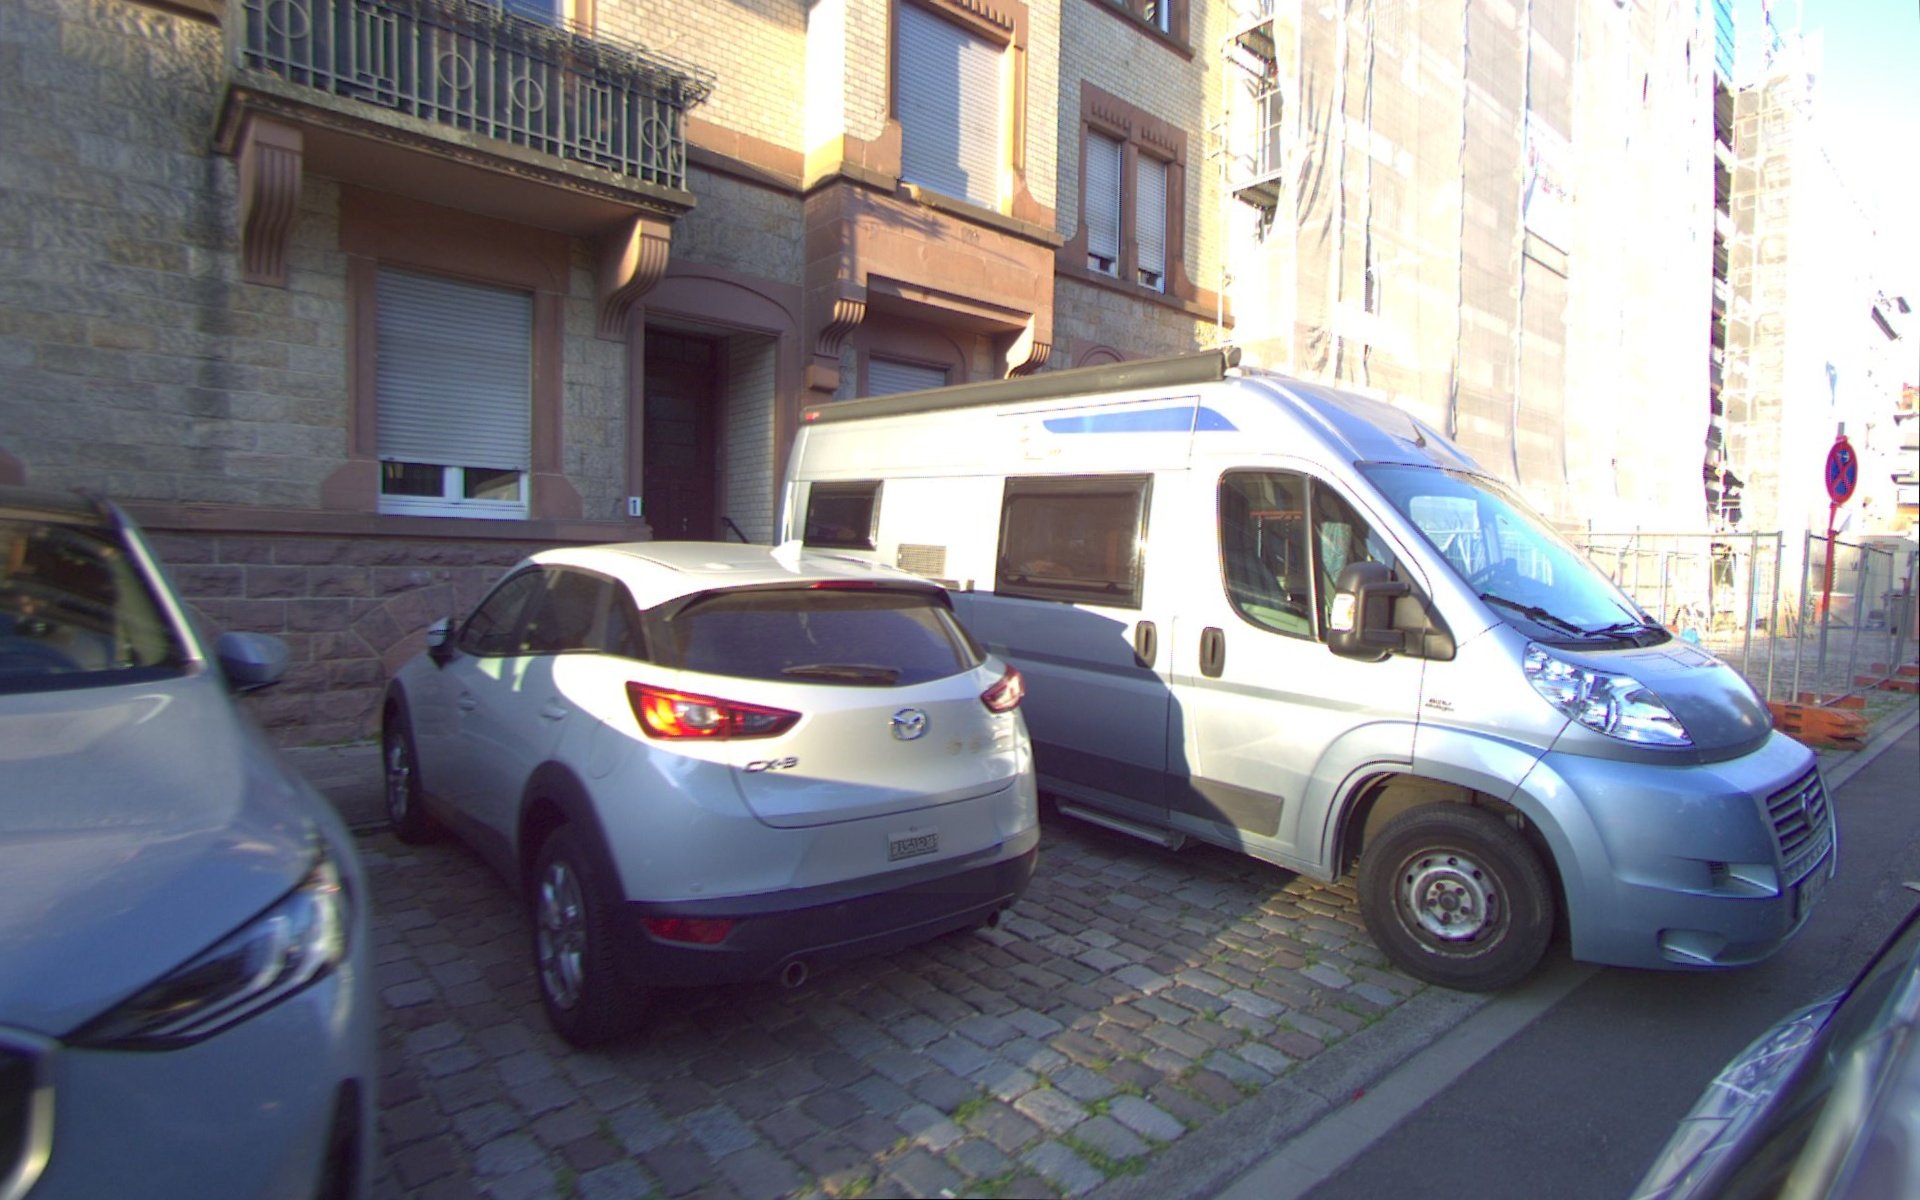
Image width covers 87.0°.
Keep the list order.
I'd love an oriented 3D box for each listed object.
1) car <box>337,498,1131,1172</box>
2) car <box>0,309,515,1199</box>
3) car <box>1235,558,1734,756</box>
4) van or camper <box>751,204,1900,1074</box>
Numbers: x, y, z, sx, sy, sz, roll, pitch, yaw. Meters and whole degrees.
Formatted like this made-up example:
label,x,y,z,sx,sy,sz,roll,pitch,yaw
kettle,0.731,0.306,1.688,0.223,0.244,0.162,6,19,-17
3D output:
label,x,y,z,sx,sy,sz,roll,pitch,yaw
car,-1.484,0.388,4.707,1.813,1.637,4.416,-4,6,-39
car,-2.904,0.439,2.539,1.816,1.770,4.407,0,3,-45
car,4.960,0.370,10.047,1.657,1.458,4.056,-2,5,-41
van or camper,1.163,-0.063,5.920,2.014,2.534,6.074,-1,4,-40
